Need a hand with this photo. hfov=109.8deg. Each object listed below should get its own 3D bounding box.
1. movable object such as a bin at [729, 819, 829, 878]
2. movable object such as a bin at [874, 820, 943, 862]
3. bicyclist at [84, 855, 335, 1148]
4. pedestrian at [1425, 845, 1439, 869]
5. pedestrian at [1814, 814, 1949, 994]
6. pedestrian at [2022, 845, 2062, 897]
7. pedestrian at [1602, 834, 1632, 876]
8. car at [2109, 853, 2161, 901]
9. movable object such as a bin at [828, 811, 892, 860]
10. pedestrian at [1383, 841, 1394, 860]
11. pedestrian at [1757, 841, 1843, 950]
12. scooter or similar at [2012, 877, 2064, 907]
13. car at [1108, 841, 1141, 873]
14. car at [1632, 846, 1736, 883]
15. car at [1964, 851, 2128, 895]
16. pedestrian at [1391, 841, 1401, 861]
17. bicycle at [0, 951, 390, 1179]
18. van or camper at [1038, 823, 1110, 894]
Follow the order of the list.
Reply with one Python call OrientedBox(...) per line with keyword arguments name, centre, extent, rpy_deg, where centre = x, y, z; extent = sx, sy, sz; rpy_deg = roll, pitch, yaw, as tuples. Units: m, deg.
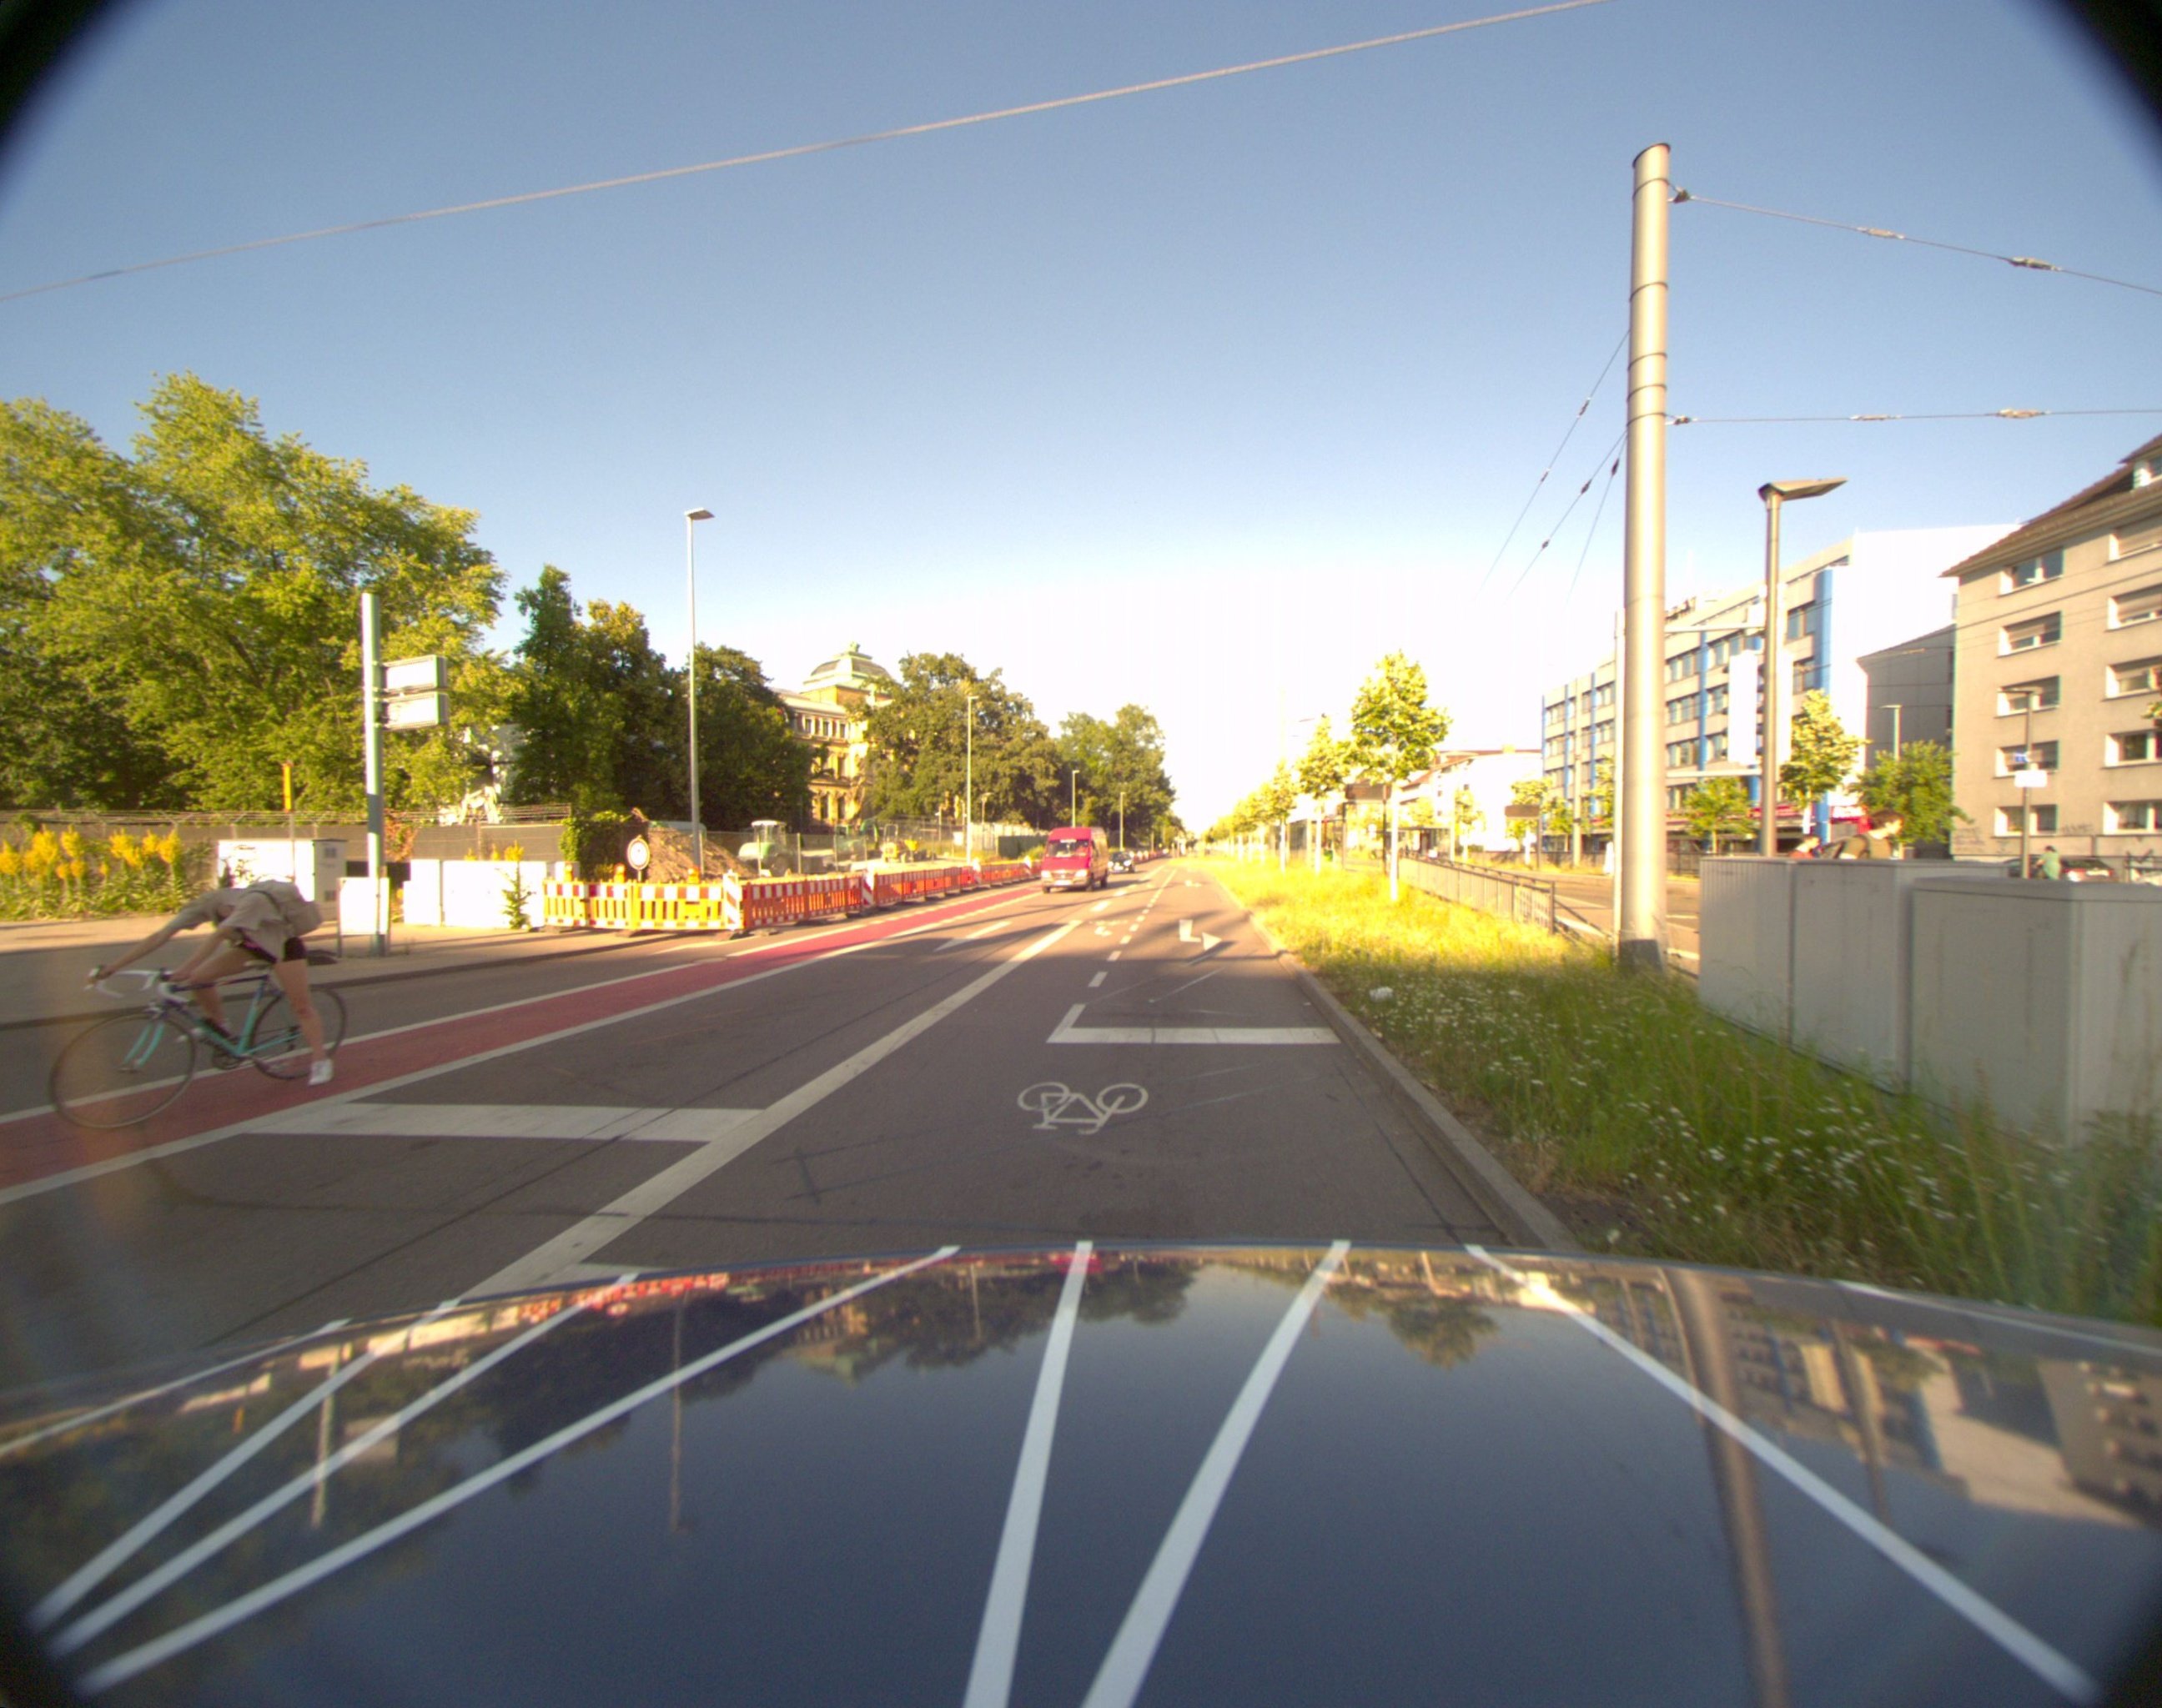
OrientedBox(name="movable object such as a bin", centre=(-14.721, -0.310, 37.385), extent=(1.997, 2.668, 5.017), rpy_deg=(-1, 1, 12))
OrientedBox(name="movable object such as a bin", centre=(-12.258, -0.955, 54.572), extent=(1.996, 2.800, 5.873), rpy_deg=(-1, 1, 18))
OrientedBox(name="bicyclist", centre=(-5.608, 0.893, 4.948), extent=(0.615, 1.736, 0.792), rpy_deg=(-2, 1, 3))
OrientedBox(name="pedestrian", centre=(24.787, 0.207, 53.677), extent=(0.659, 1.682, 0.772), rpy_deg=(-2, 1, 6))
OrientedBox(name="pedestrian", centre=(8.593, 0.523, 8.187), extent=(0.787, 1.853, 0.620), rpy_deg=(-1, 1, 11))
OrientedBox(name="pedestrian", centre=(34.693, 0.594, 27.443), extent=(0.561, 1.837, 0.723), rpy_deg=(-1, 1, 14))
OrientedBox(name="pedestrian", centre=(21.728, 0.027, 30.799), extent=(0.787, 1.663, 0.620), rpy_deg=(-1, 1, 11))
OrientedBox(name="car", centre=(36.314, 0.762, 24.381), extent=(1.885, 1.499, 3.675), rpy_deg=(-2, 1, 8))
OrientedBox(name="movable object such as a bin", centre=(-15.977, -1.331, 55.253), extent=(1.997, 3.310, 5.379), rpy_deg=(-1, 1, 12))
OrientedBox(name="pedestrian", centre=(26.636, -0.303, 65.810), extent=(0.659, 1.682, 0.772), rpy_deg=(-1, 1, 11))
OrientedBox(name="pedestrian", centre=(11.513, 0.651, 12.183), extent=(0.787, 1.689, 0.620), rpy_deg=(-1, 1, 11))
OrientedBox(name="scooter or similar", centre=(34.783, 1.368, 27.631), extent=(0.486, 1.000, 1.331), rpy_deg=(-1, 1, 15))
OrientedBox(name="car", centre=(3.005, 0.161, 51.223), extent=(1.998, 2.002, 4.001), rpy_deg=(-2, 1, 6))
OrientedBox(name="car", centre=(27.033, 0.438, 34.229), extent=(1.885, 1.499, 3.944), rpy_deg=(-2, 1, 8))
OrientedBox(name="car", centre=(36.886, 0.673, 29.213), extent=(1.885, 1.499, 3.675), rpy_deg=(-2, 1, 8))
OrientedBox(name="pedestrian", centre=(26.342, -0.260, 63.519), extent=(0.659, 1.682, 0.772), rpy_deg=(-1, 1, 14))
OrientedBox(name="bicycle", centre=(-5.630, 1.262, 4.978), extent=(0.542, 0.995, 1.694), rpy_deg=(-2, 1, 3))
OrientedBox(name="van or camper", centre=(-0.153, 0.120, 30.556), extent=(1.997, 2.514, 5.916), rpy_deg=(-2, 1, 8))
